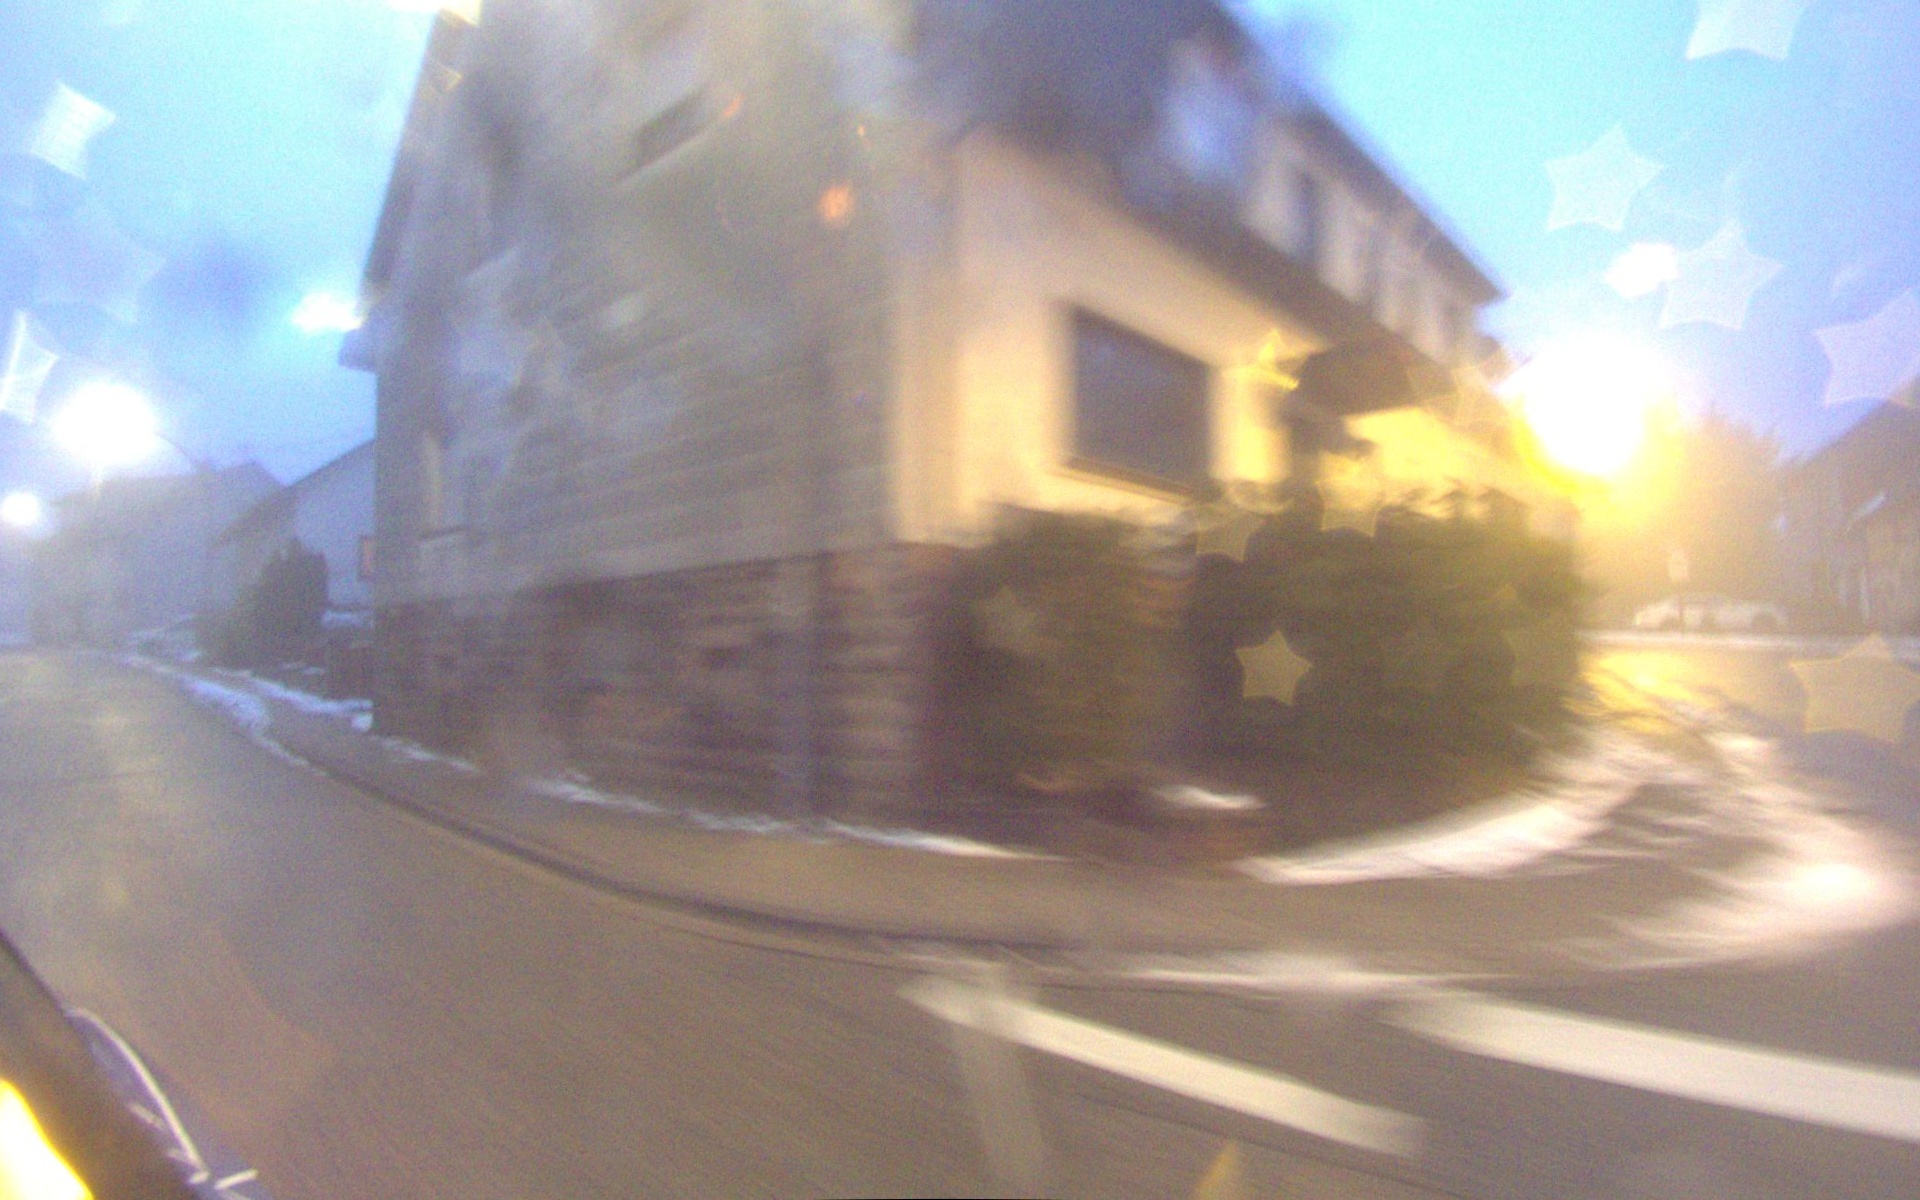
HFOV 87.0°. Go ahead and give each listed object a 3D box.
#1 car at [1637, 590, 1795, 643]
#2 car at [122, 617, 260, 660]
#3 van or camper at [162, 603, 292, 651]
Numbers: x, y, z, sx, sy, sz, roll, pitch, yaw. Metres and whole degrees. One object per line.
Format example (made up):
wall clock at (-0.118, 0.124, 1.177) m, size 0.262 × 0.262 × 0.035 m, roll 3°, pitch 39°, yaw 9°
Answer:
car at (29.716, 0.654, 39.988) m, size 4.649 × 1.818 × 1.981 m, roll -4°, pitch -2°, yaw 28°
car at (-34.454, 1.691, 45.414) m, size 4.735 × 1.679 × 1.892 m, roll -2°, pitch 0°, yaw -43°
van or camper at (-39.002, 1.482, 54.037) m, size 2.129 × 2.467 × 5.270 m, roll 0°, pitch -3°, yaw 20°
